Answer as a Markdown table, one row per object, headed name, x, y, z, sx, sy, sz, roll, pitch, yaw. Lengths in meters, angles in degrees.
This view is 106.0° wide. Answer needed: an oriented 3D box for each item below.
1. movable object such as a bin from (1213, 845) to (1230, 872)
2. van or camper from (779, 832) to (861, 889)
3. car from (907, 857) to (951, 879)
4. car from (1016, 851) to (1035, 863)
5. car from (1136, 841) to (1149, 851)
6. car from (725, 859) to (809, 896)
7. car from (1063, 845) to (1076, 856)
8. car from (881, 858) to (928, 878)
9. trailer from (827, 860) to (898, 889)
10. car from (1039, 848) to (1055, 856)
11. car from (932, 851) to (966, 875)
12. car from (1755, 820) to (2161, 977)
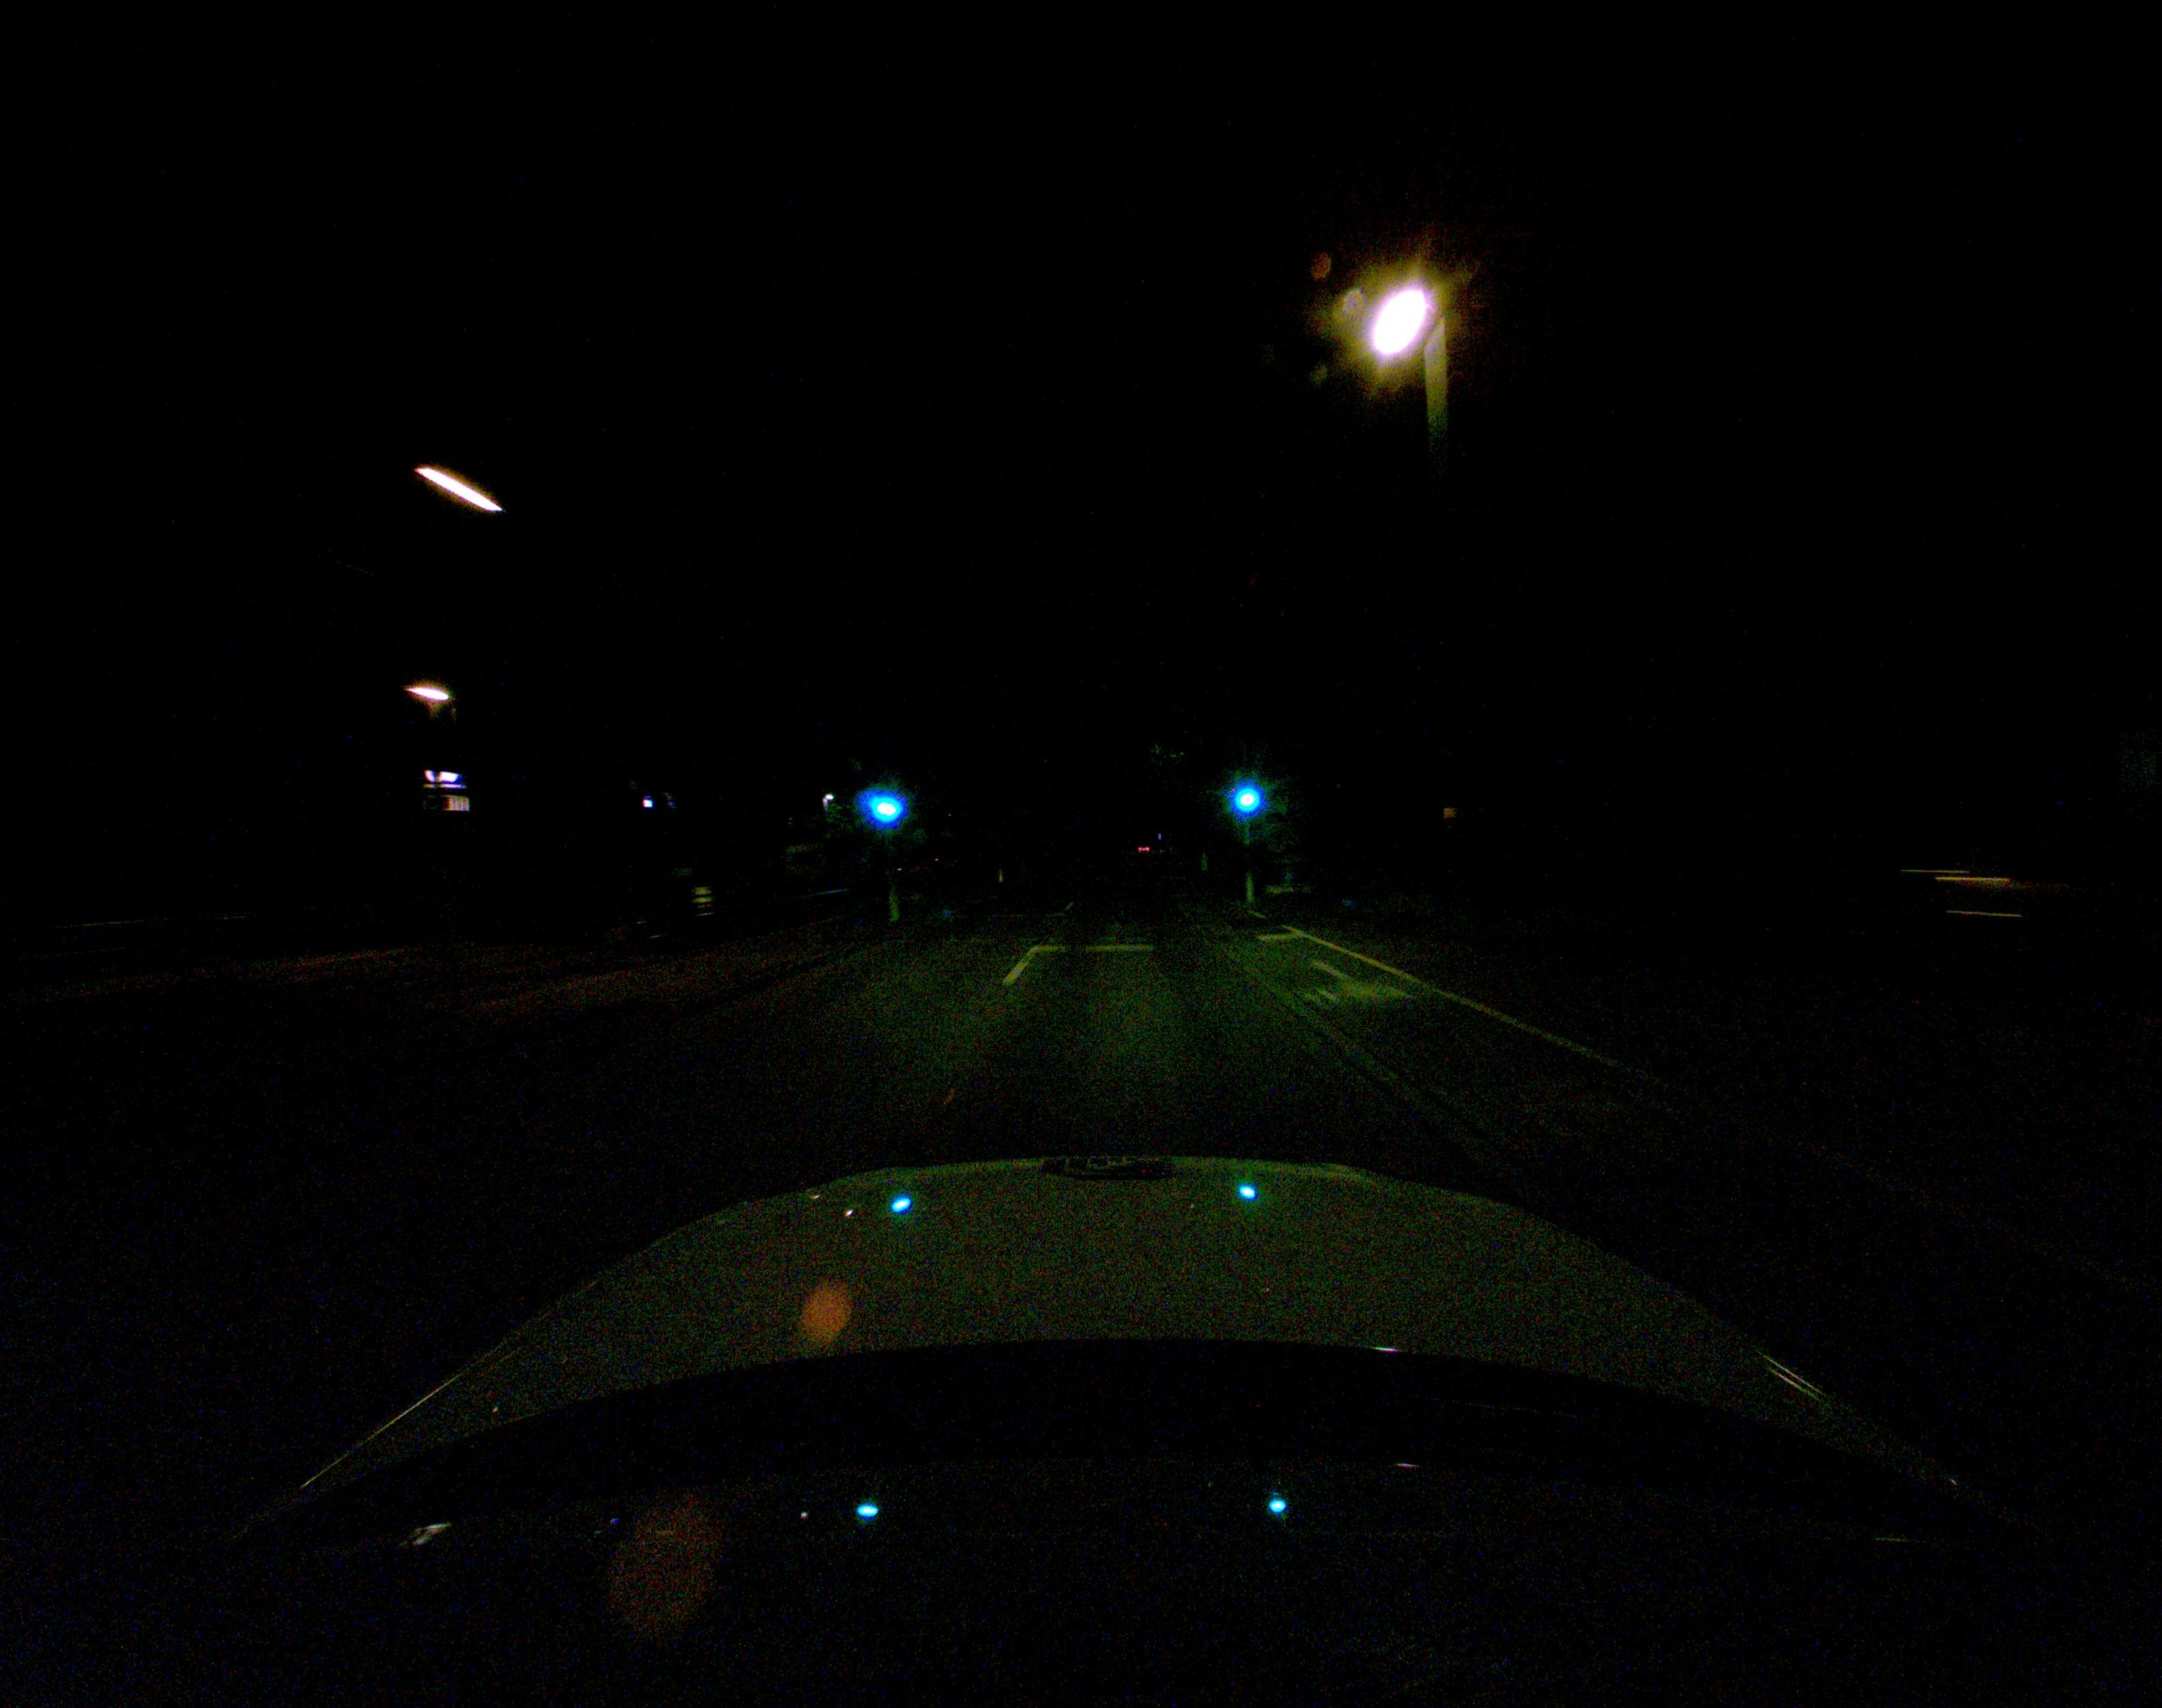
| name | x | y | z | sx | sy | sz | roll | pitch | yaw |
| --- | --- | --- | --- | --- | --- | --- | --- | --- | --- |
| movable object such as a bin | 6.454 | 0.222 | 37.330 | 0.719 | 1.200 | 0.722 | -2 | 0 | 11 |
| van or camper | -13.731 | 0.306 | 43.238 | 2.265 | 2.647 | 5.664 | -4 | 0 | 0 |
| car | -11.928 | 1.058 | 64.180 | 1.892 | 1.522 | 5.182 | -2 | 0 | 7 |
| car | -8.062 | 0.398 | 118.381 | 1.984 | 1.628 | 4.683 | -2 | 0 | 4 |
| car | 11.065 | -1.413 | 147.088 | 2.153 | 1.583 | 4.015 | -2 | 0 | 2 |
| car | -14.060 | 1.014 | 36.811 | 1.638 | 1.339 | 4.548 | -6 | 0 | 4 |
| car | -2.410 | -0.752 | 168.540 | 2.082 | 2.013 | 4.005 | -6 | 0 | 4 |
| car | -12.702 | 0.987 | 58.707 | 3.019 | 1.326 | 1.533 | -2 | 0 | -1 |
| trailer | -13.337 | 1.213 | 50.101 | 2.405 | 1.374 | 4.667 | -6 | 0 | 9 |
| car | -5.712 | -0.379 | 138.126 | 1.984 | 1.338 | 5.439 | -2 | 0 | 4 |
| car | -11.343 | 0.740 | 70.243 | 1.850 | 1.904 | 4.882 | -2 | 0 | 2 |
| car | 9.407 | 0.371 | 8.152 | 3.750 | 1.354 | 1.860 | -1 | 0 | 2 |
